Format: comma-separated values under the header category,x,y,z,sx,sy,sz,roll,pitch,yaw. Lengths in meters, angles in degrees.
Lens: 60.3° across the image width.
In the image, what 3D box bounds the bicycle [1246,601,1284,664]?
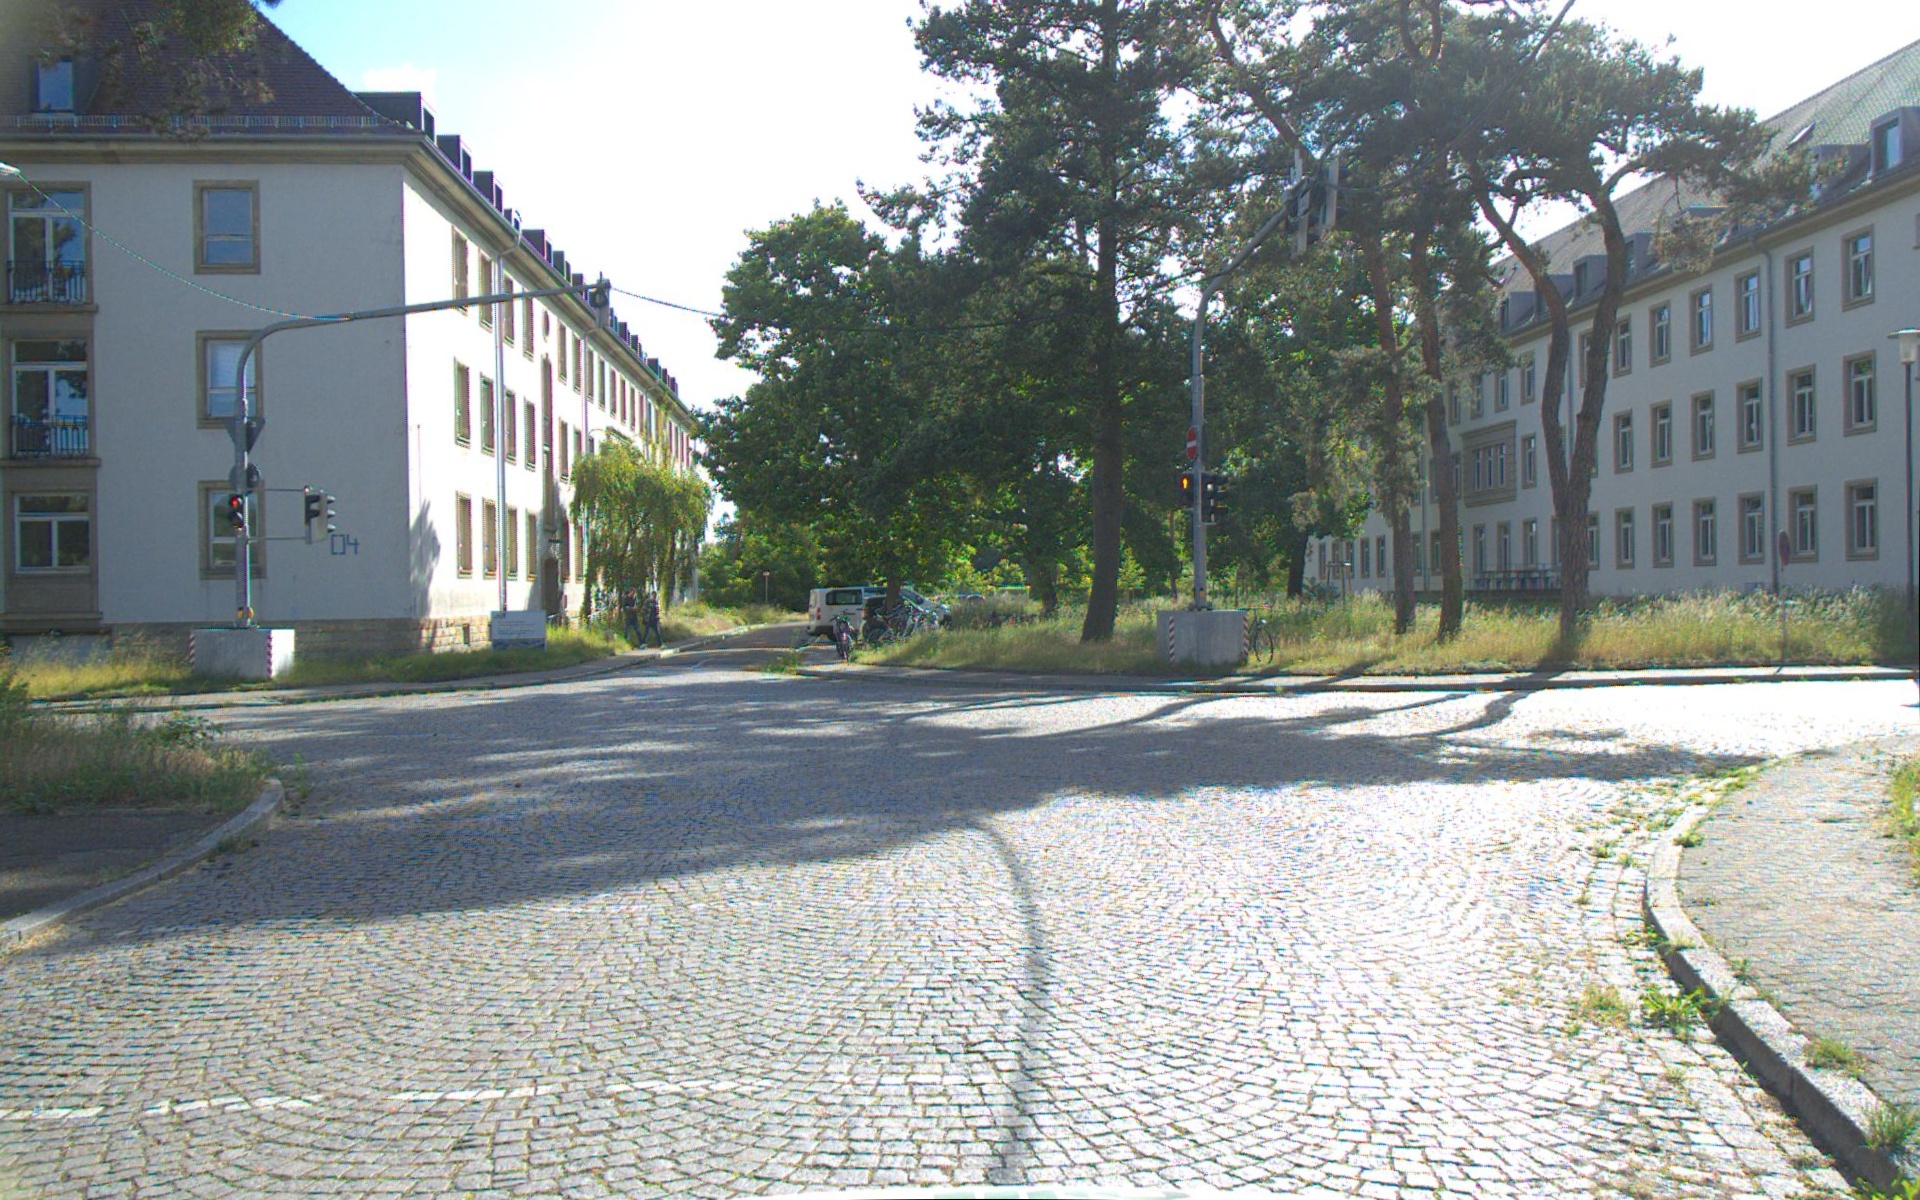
category,x,y,z,sx,sy,sz,roll,pitch,yaw
bicycle,5.460,0.583,29.666,0.456,1.099,1.173,-1,-1,0

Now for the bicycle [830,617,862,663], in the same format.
category,x,y,z,sx,sy,sz,roll,pitch,yaw
bicycle,-2.617,0.902,37.840,0.682,0.988,1.858,0,0,-5

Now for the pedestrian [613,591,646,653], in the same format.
category,x,y,z,sx,sy,sz,roll,pitch,yaw
pedestrian,-9.986,0.655,49.968,0.794,1.849,0.555,-1,0,7

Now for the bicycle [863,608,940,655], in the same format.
category,x,y,z,sx,sy,sz,roll,pitch,yaw
bicycle,-1.506,0.807,42.186,1.903,1.149,0.749,-1,0,-7

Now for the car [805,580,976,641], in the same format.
category,x,y,z,sx,sy,sz,roll,pitch,yaw
car,-2.523,0.372,59.299,5.823,2.049,2.469,-1,0,-10

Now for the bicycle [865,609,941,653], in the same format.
category,x,y,z,sx,sy,sz,roll,pitch,yaw
bicycle,-1.432,0.763,41.394,1.819,1.049,0.749,-1,0,-7

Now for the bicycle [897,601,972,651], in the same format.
category,x,y,z,sx,sy,sz,roll,pitch,yaw
bicycle,-0.668,0.679,42.940,1.903,1.257,0.484,-1,0,-7

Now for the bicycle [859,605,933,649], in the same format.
category,x,y,z,sx,sy,sz,roll,pitch,yaw
bicycle,-1.729,0.716,44.486,1.905,1.149,0.646,-1,0,-9

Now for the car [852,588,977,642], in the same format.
category,x,y,z,sx,sy,sz,roll,pitch,yaw
car,-1.540,0.478,55.143,3.916,1.713,1.842,-1,0,-11

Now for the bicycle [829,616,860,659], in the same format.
category,x,y,z,sx,sy,sz,roll,pitch,yaw
bicycle,-2.785,0.894,39.765,0.682,0.988,1.858,0,0,-5

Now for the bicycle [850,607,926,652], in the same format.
category,x,y,z,sx,sy,sz,roll,pitch,yaw
bicycle,-1.876,0.764,43.382,1.921,1.149,0.641,-1,0,-31

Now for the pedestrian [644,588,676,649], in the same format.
category,x,y,z,sx,sy,sz,roll,pitch,yaw
pedestrian,-9.153,0.558,50.511,0.751,1.849,0.683,-1,0,7
